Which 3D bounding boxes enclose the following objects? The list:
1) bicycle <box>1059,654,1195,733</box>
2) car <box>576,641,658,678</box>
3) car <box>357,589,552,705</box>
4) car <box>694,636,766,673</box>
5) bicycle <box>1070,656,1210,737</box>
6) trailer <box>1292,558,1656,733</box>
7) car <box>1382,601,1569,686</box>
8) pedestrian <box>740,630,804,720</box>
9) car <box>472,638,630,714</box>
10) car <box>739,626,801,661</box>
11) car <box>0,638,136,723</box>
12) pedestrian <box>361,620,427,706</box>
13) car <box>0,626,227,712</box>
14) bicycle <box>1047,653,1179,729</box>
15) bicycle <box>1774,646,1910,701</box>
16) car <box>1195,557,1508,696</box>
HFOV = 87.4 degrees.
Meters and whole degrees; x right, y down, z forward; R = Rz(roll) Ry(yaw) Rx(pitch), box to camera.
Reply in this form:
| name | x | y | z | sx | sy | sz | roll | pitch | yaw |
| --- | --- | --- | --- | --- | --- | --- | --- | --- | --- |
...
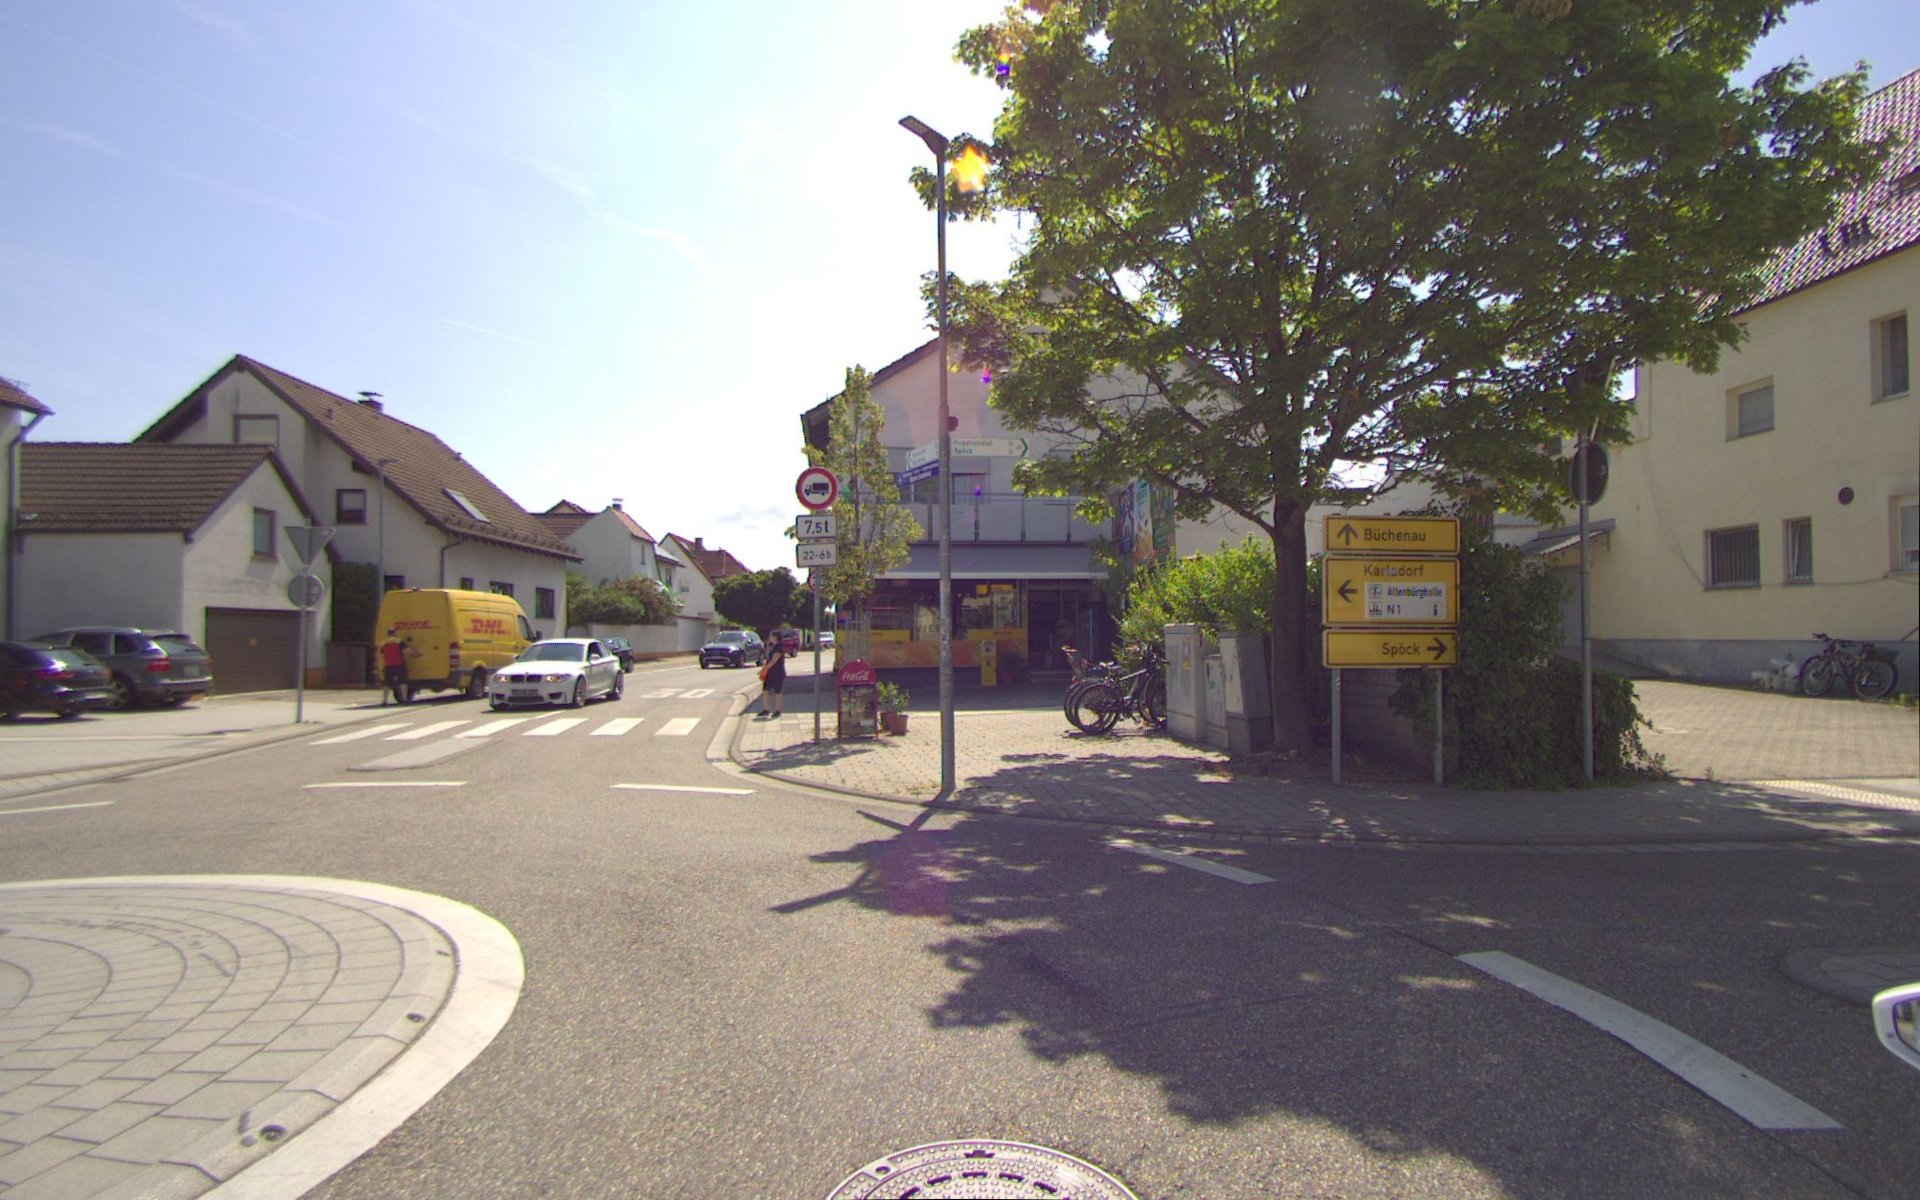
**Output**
| name | x | y | z | sx | sy | sz | roll | pitch | yaw |
| --- | --- | --- | --- | --- | --- | --- | --- | --- | --- |
| bicycle | 2.447 | 1.349 | 14.693 | 1.950 | 1.017 | 0.400 | -2 | -1 | -17 |
| car | -13.452 | 2.317 | 39.654 | 1.751 | 1.261 | 3.974 | 0 | 0 | 2 |
| car | -12.655 | 1.180 | 25.704 | 2.071 | 2.606 | 5.686 | -1 | -2 | 1 |
| car | -10.166 | 2.390 | 44.780 | 1.842 | 1.369 | 4.419 | 0 | 0 | 5 |
| bicycle | 2.559 | 1.349 | 14.252 | 1.950 | 1.017 | 0.400 | -2 | -1 | -17 |
| trailer | 7.423 | 0.617 | 14.788 | 4.436 | 2.366 | 1.884 | 0 | 0 | -4 |
| car | 11.921 | 0.929 | 23.643 | 1.868 | 1.783 | 4.580 | 0 | 0 | -3 |
| pedestrian | -3.487 | 1.378 | 18.675 | 0.739 | 1.610 | 0.876 | -2 | -1 | 39 |
| car | -8.775 | 1.582 | 21.981 | 1.844 | 1.468 | 4.334 | 0 | -2 | -3 |
| car | -10.808 | 2.435 | 57.345 | 1.836 | 1.857 | 3.974 | -1 | 0 | 17 |
| car | -18.174 | 1.438 | 18.447 | 4.394 | 1.470 | 1.835 | 0 | -2 | -5 |
| pedestrian | -12.611 | 1.396 | 22.404 | 1.003 | 1.850 | 0.783 | -2 | -1 | -2 |
| car | -18.856 | 1.441 | 21.551 | 4.659 | 1.762 | 1.986 | 0 | -2 | -5 |
| bicycle | 2.306 | 1.349 | 15.121 | 1.950 | 1.017 | 0.400 | -2 | -1 | -17 |
| bicycle | 15.799 | 1.290 | 18.078 | 0.531 | 0.925 | 2.177 | -1 | -2 | 1 |
| car | 7.693 | 0.492 | 20.052 | 5.538 | 2.601 | 1.942 | 0 | 0 | -4 |
